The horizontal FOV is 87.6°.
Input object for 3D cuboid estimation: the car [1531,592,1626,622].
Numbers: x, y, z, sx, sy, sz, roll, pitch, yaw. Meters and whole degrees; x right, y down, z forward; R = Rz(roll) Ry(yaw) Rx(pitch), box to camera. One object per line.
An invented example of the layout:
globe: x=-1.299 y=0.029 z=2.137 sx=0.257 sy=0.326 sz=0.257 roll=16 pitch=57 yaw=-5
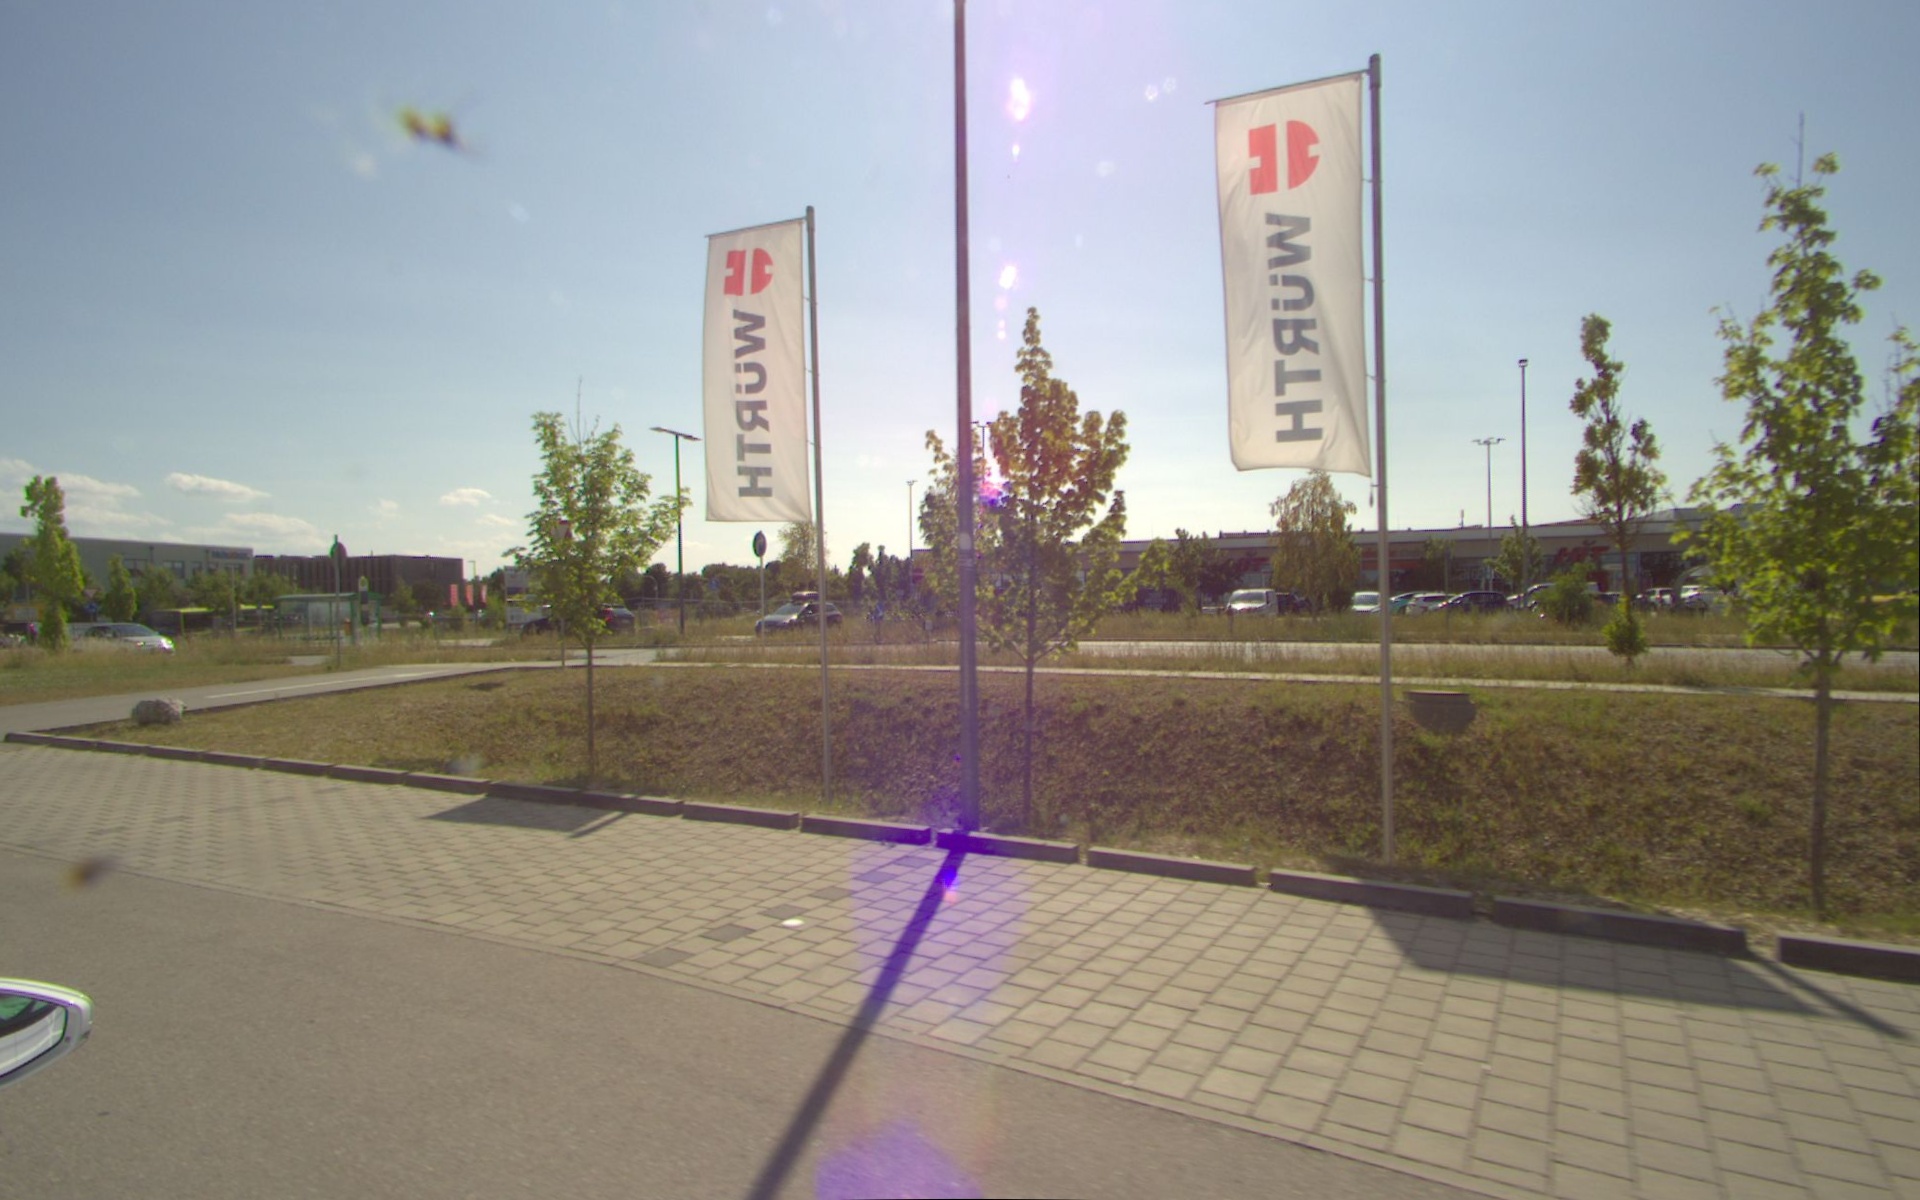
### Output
car: x=32.268 y=0.397 z=52.354 sx=3.930 sy=1.528 sz=1.871 roll=-1 pitch=0 yaw=20

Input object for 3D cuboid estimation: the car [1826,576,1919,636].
car: x=33.423 y=0.220 z=36.576 sx=2.135 sy=2.040 sz=5.084 roll=-1 pitch=0 yaw=35

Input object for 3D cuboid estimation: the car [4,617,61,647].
car: x=-61.635 y=2.096 z=66.588 sx=1.801 sy=1.884 sz=3.982 roll=0 pitch=-1 yaw=-28

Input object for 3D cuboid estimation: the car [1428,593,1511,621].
car: x=27.111 y=0.360 z=53.406 sx=3.663 sy=1.409 sz=1.730 roll=-1 pitch=0 yaw=15

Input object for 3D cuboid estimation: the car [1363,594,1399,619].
car: x=30.339 y=0.430 z=72.282 sx=1.964 sy=1.730 sz=3.993 roll=-1 pitch=0 yaw=17

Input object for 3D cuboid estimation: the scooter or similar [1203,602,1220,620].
scooter or similar: x=15.417 y=0.691 z=61.449 sx=0.930 sy=1.094 sz=0.650 roll=-1 pitch=0 yaw=23

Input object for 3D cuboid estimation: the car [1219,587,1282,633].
car: x=13.928 y=0.469 z=47.837 sx=2.054 sy=2.040 sz=5.210 roll=-1 pitch=0 yaw=26

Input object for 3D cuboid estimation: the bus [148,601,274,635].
bus: x=-65.072 y=1.488 z=87.510 sx=2.530 sy=2.771 sz=11.567 roll=0 pitch=0 yaw=-1

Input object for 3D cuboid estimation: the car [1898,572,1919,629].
car: x=50.085 y=0.029 z=49.944 sx=4.400 sy=2.858 sz=1.998 roll=0 pitch=0 yaw=13

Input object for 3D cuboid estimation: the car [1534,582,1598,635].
car: x=25.210 y=0.331 z=41.628 sx=2.133 sy=2.040 sz=5.089 roll=-1 pitch=0 yaw=32

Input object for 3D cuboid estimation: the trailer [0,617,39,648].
trailer: x=-59.848 y=2.038 z=63.022 sx=1.801 sy=1.884 sz=3.982 roll=0 pitch=-1 yaw=-28

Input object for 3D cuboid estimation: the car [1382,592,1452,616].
car: x=28.271 y=0.274 z=62.052 sx=3.663 sy=1.409 sz=1.730 roll=-1 pitch=0 yaw=15

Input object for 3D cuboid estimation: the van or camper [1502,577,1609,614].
van or camper: x=34.086 y=-0.245 z=57.448 sx=4.964 sy=2.040 sz=1.995 roll=0 pitch=1 yaw=21

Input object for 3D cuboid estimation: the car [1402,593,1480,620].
car: x=26.983 y=0.359 z=56.232 sx=3.663 sy=1.409 sz=1.730 roll=-1 pitch=0 yaw=15

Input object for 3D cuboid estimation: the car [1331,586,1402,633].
car: x=18.515 y=0.417 z=45.483 sx=2.133 sy=2.040 sz=5.089 roll=-1 pitch=0 yaw=32

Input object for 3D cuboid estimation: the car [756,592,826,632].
car: x=-6.808 y=0.510 z=40.809 sx=1.961 sy=1.536 sz=4.197 roll=0 pitch=-1 yaw=3

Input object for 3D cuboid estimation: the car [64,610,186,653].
car: x=-31.162 y=1.161 z=37.386 sx=3.714 sy=1.571 sz=1.739 roll=0 pitch=0 yaw=16
